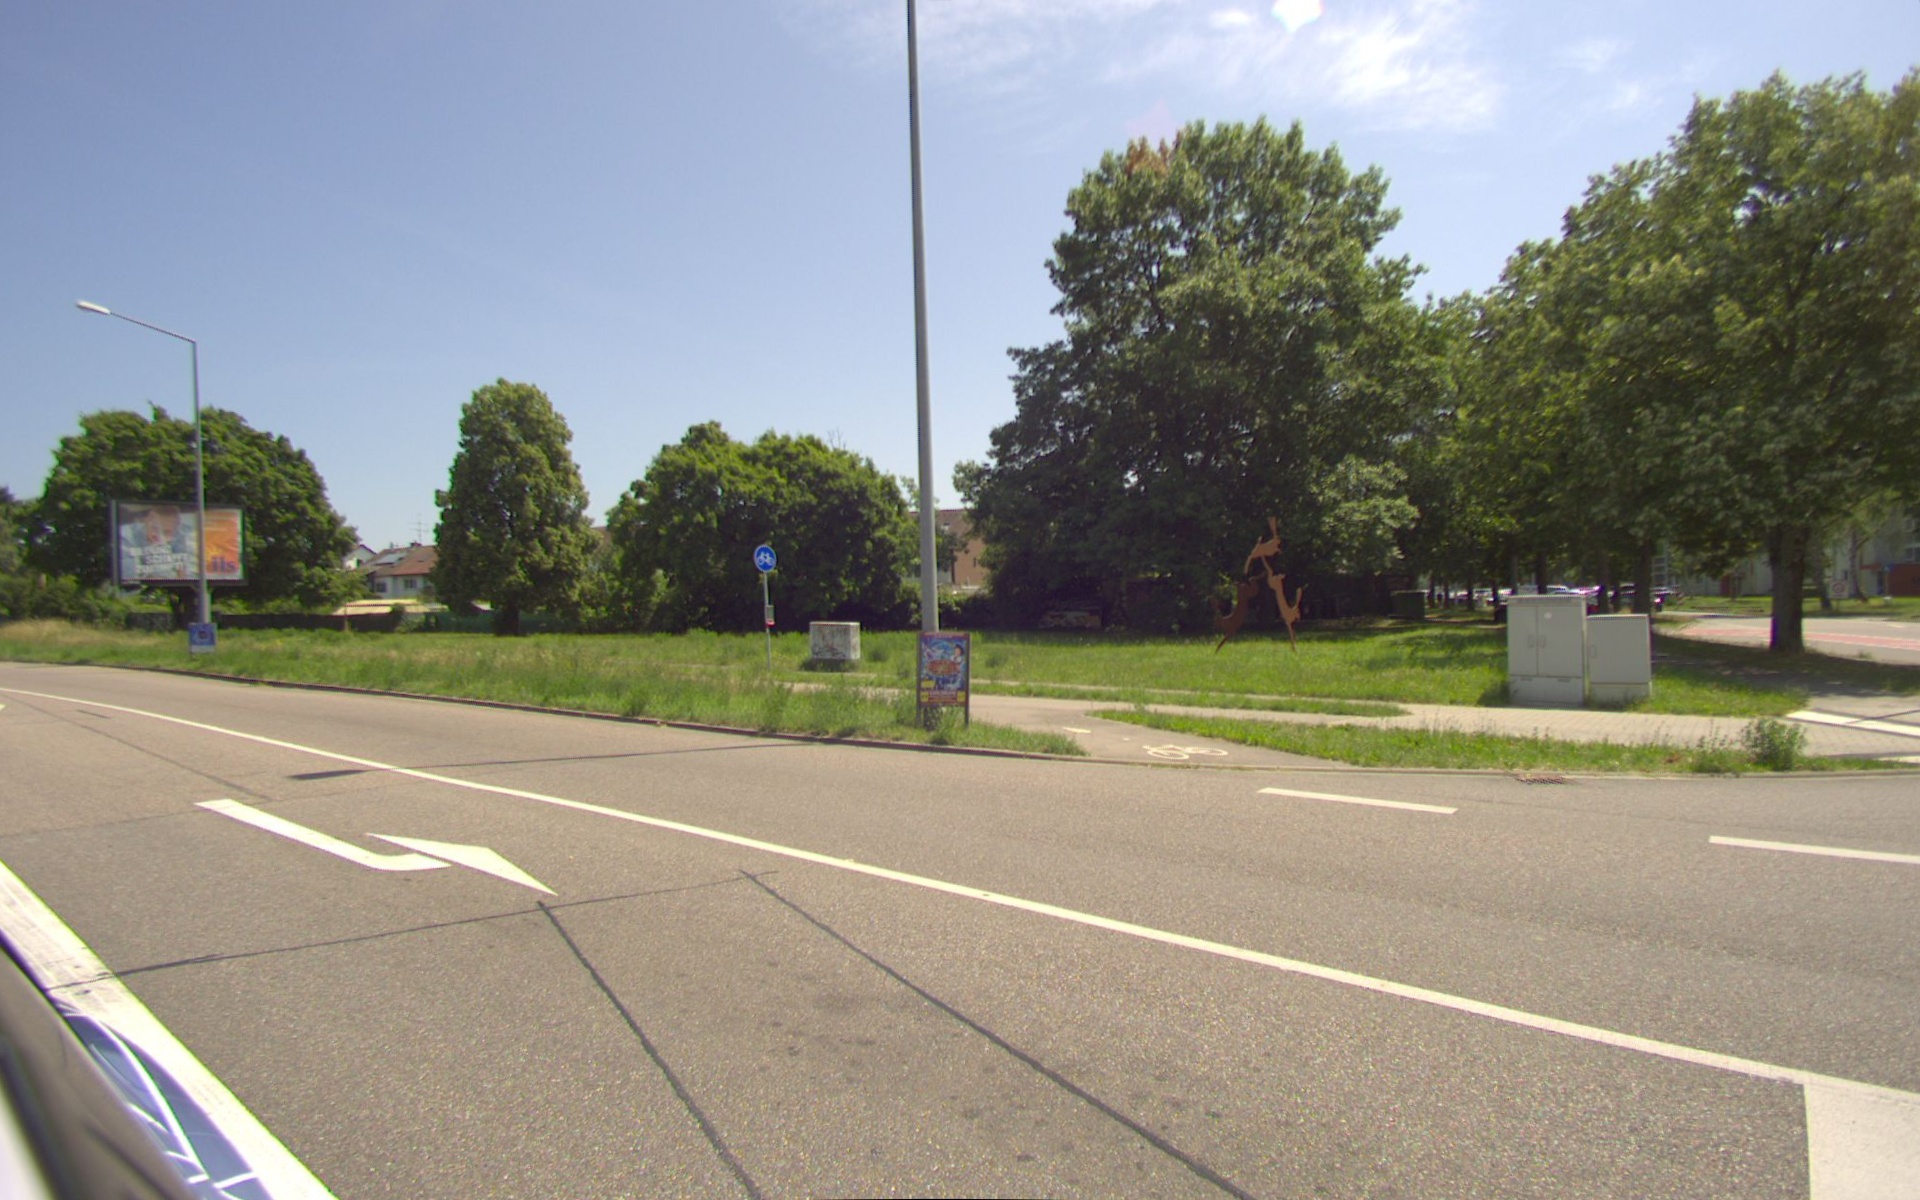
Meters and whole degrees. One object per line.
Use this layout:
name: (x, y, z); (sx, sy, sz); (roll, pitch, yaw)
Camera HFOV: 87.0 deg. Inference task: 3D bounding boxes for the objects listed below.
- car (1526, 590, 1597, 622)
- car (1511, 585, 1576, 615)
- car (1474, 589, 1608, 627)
car: (42.779, 0.418, 72.095); (3.971, 2.028, 1.987); (-2, 3, 21)
car: (44.652, -0.015, 77.500); (3.971, 2.028, 1.987); (-2, 3, 21)
car: (24.859, 0.369, 43.467); (1.966, 1.479, 4.597); (-1, -1, -32)
